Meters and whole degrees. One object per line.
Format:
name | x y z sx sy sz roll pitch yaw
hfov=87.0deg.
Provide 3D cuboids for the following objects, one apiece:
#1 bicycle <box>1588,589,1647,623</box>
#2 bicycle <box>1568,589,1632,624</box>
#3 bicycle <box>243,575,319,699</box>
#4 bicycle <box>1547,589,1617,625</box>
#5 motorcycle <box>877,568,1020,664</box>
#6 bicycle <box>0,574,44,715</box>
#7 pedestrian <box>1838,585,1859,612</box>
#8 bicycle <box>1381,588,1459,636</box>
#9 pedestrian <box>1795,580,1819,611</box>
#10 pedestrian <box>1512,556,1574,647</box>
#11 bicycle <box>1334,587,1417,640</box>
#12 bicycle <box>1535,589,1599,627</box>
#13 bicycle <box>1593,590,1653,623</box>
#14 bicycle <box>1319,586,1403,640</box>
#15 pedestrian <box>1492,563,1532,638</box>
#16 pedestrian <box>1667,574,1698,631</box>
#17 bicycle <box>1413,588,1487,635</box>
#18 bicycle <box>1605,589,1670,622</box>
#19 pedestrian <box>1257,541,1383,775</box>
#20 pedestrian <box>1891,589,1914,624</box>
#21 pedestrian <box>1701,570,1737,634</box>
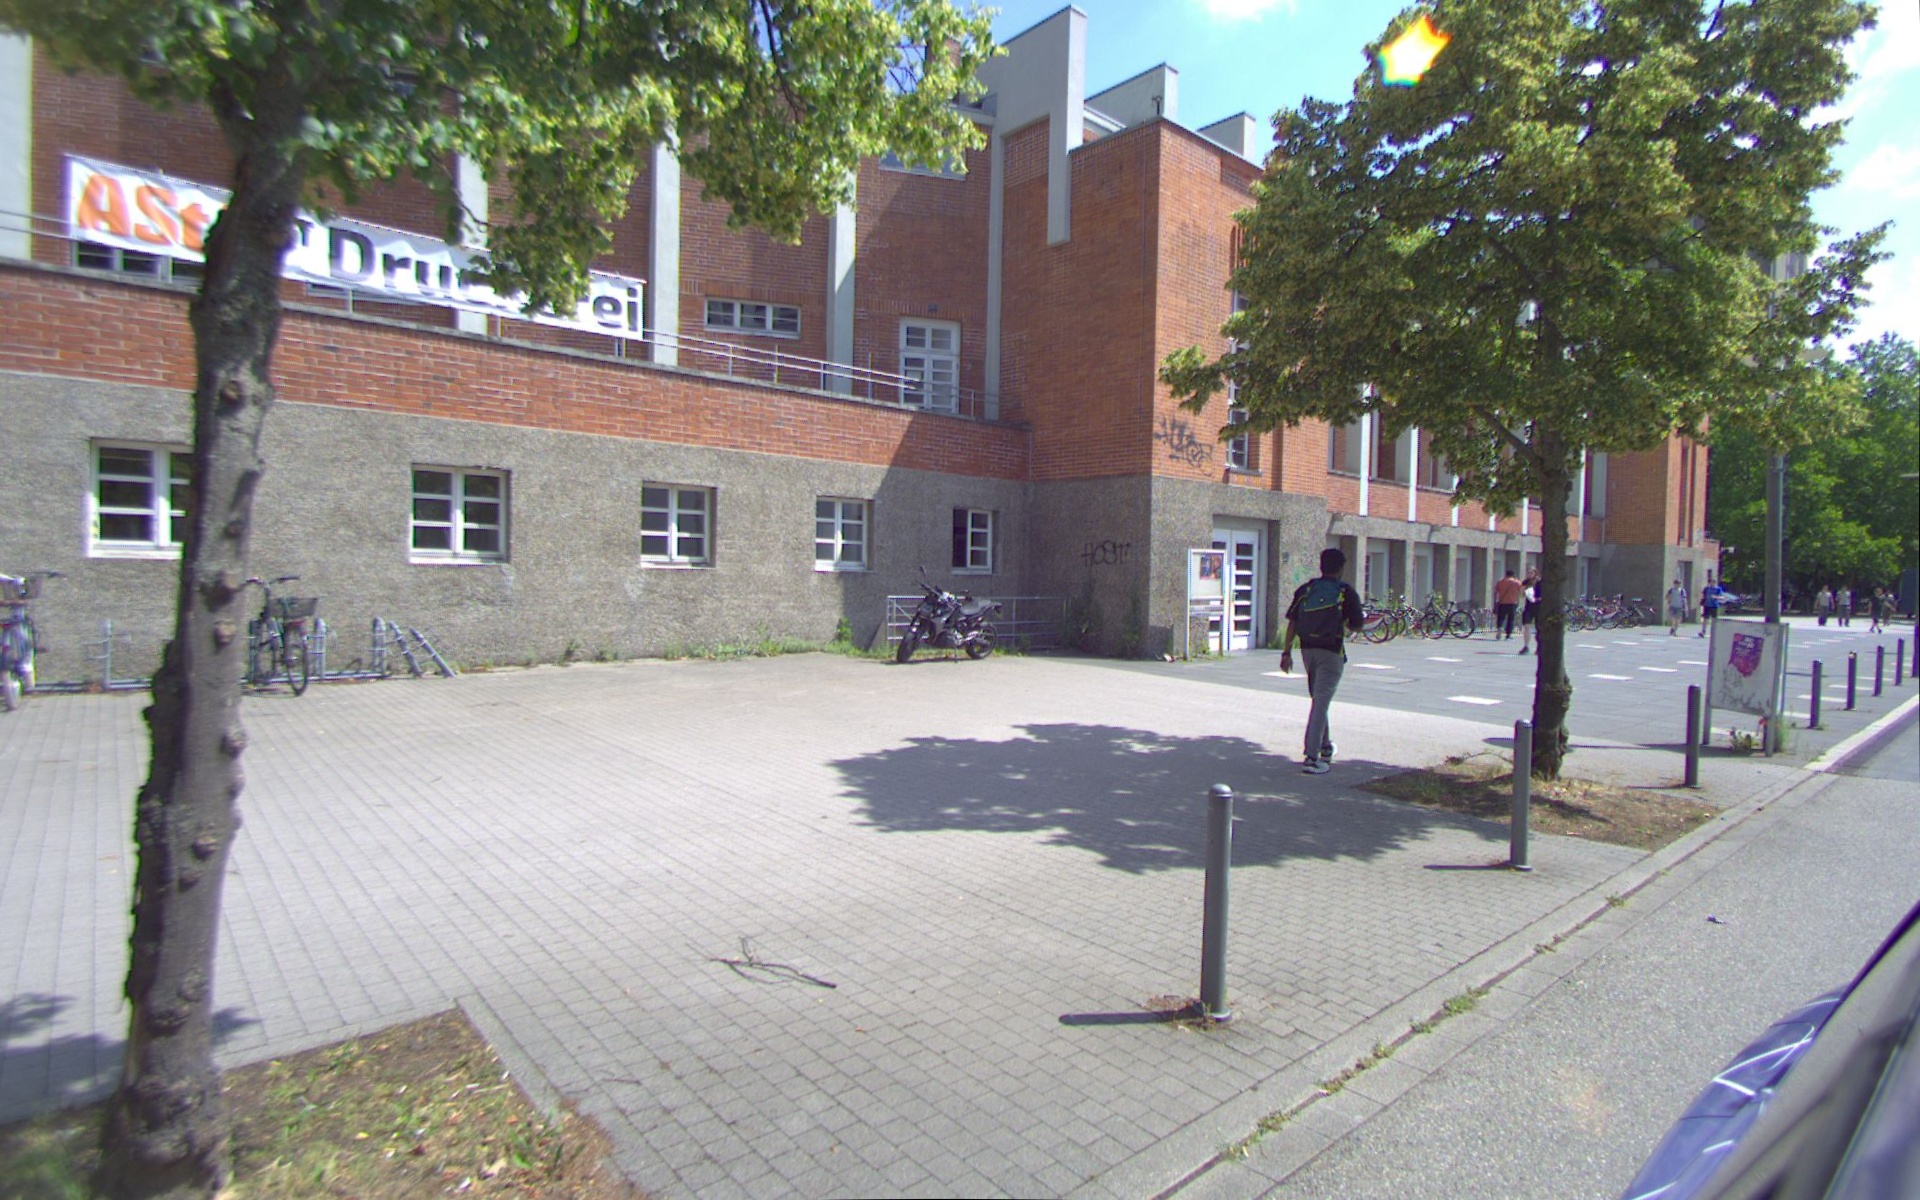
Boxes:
bicycle | 23.276 0.209 35.845 0.428 1.124 1.653 0 2 -42
bicycle | 22.027 0.206 34.845 0.428 1.124 1.799 0 2 -42
bicycle | -6.946 0.330 10.319 0.440 1.123 1.809 0 2 -40
bicycle | 20.685 0.224 33.673 0.428 1.124 1.914 0 2 -42
motorcycle | -0.142 0.217 15.155 2.180 1.339 0.697 0 2 -40
bicycle | -8.402 0.348 8.910 0.440 1.123 1.705 0 2 -40
pedestrian | 56.126 -0.092 63.919 0.743 1.694 0.838 2 1 26
bicycle | 11.603 0.283 25.574 0.428 1.124 1.750 0 2 -42
pedestrian | 54.407 -0.313 65.011 0.973 1.970 0.970 -1 0 26
pedestrian | 12.333 0.020 21.409 0.844 1.857 1.179 2 2 43
bicycle | 9.816 0.290 23.973 0.509 1.164 1.755 0 2 -42
bicycle | 19.497 0.241 32.531 0.428 1.124 1.685 0 2 -42
bicycle | 23.776 0.221 36.313 0.428 1.124 1.697 0 2 -42
bicycle | 9.206 0.282 23.286 0.428 1.164 1.755 0 2 -42
pedestrian | 14.135 0.000 25.926 0.663 1.857 0.892 2 1 43
pedestrian | 22.709 0.064 31.797 0.986 1.727 0.585 -1 3 -45
bicycle | 12.773 0.280 26.413 0.428 1.124 1.685 0 2 -42
bicycle | 25.092 0.204 37.505 0.449 1.124 1.932 0 2 -42
pedestrian | 2.825 0.412 7.937 0.641 1.718 0.780 2 1 43
pedestrian | 47.948 0.309 51.479 0.782 1.696 1.063 3 3 43
pedestrian | 23.349 0.043 31.134 1.091 1.913 0.665 -1 3 -44
